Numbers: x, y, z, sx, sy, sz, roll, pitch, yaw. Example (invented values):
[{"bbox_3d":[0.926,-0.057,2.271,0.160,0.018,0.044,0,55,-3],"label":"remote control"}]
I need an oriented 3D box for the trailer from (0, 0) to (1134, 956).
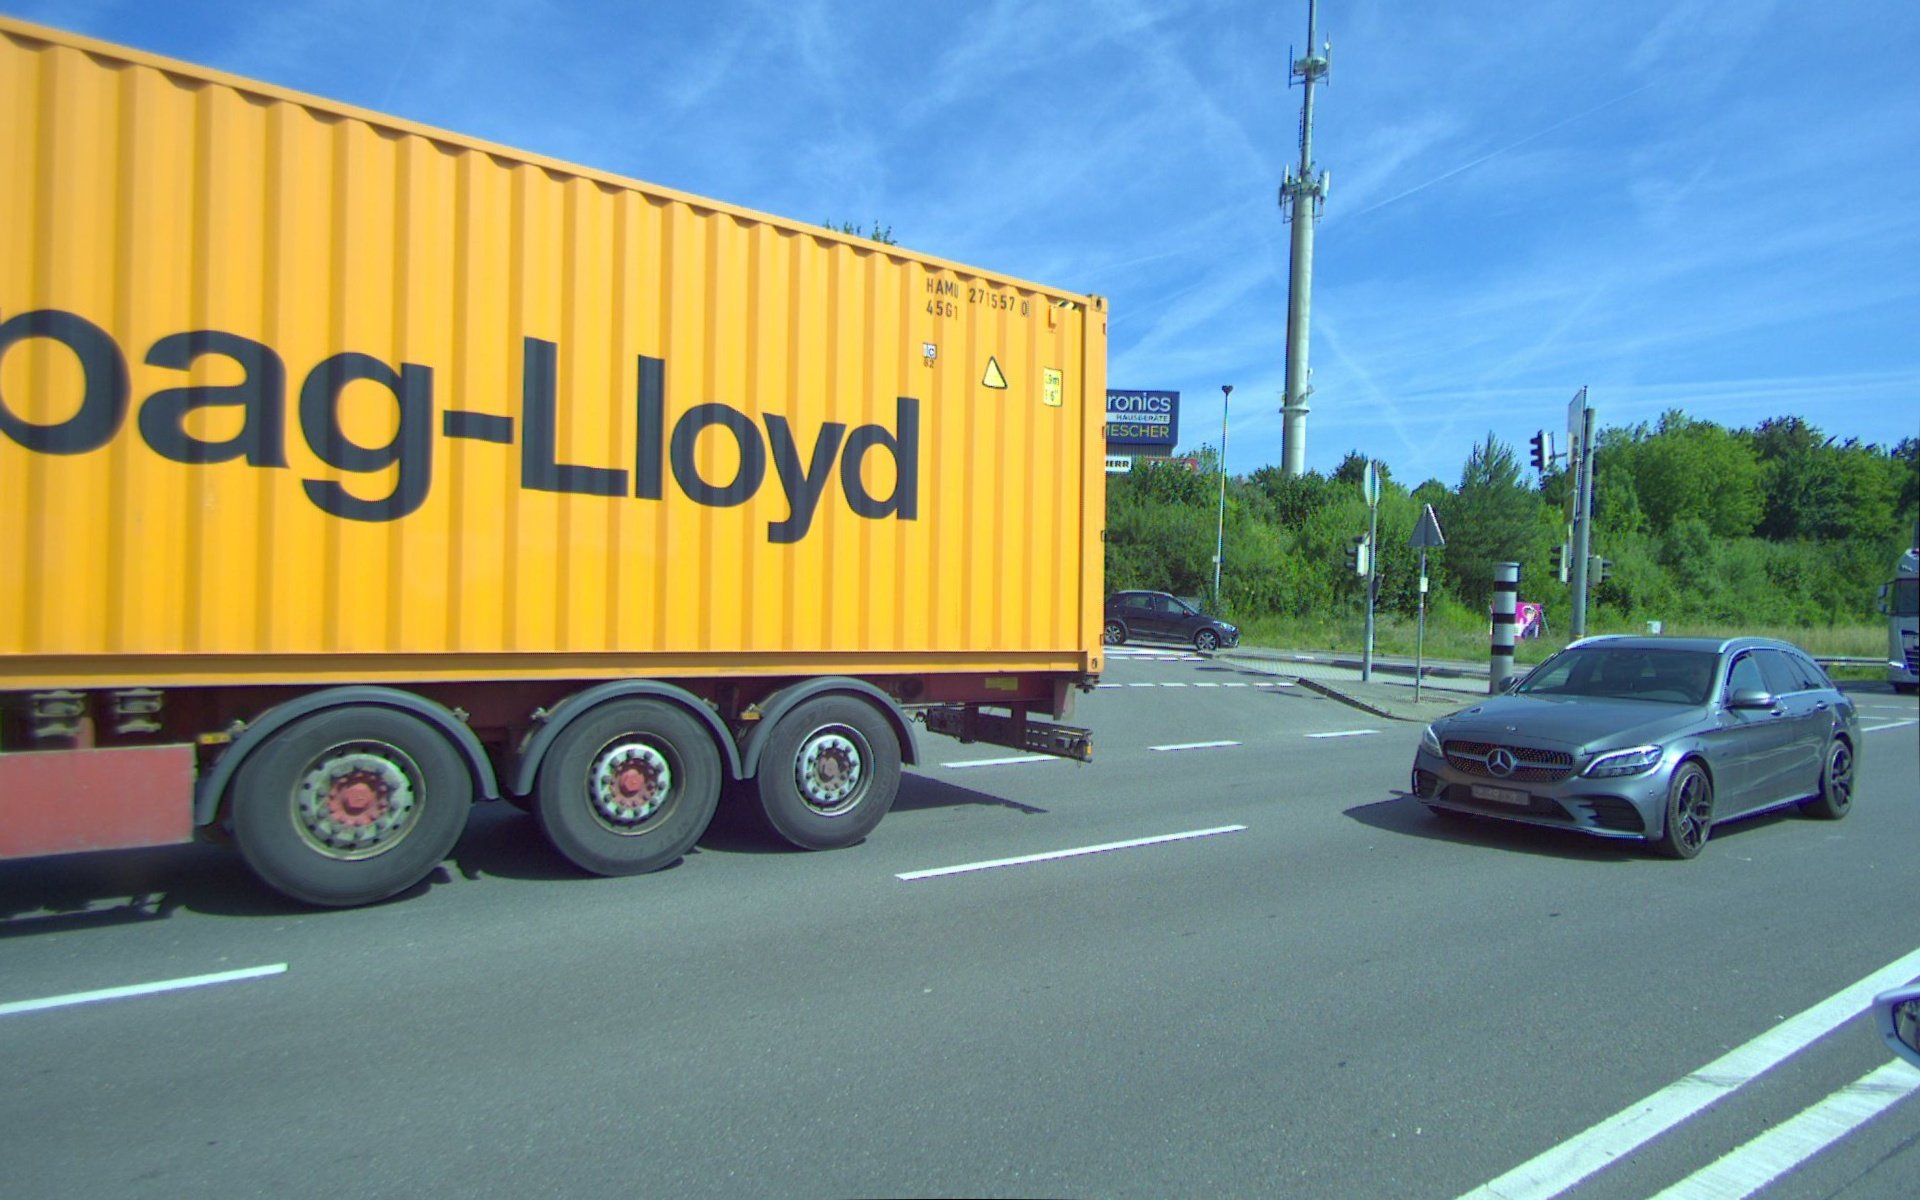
[{"bbox_3d":[-4.397,-0.534,5.563,12.111,4.051,2.703,2,0,-35],"label":"trailer"}]

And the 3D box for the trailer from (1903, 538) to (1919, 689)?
[{"bbox_3d":[32.864,0.566,30.641,13.729,4.203,2.676,2,0,-33],"label":"trailer"}]

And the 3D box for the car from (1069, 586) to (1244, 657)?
[{"bbox_3d":[5.493,0.550,28.008,4.543,1.548,1.916,4,2,15],"label":"car"}]

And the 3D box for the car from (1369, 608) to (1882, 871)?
[{"bbox_3d":[5.598,0.914,8.281,4.539,1.623,1.910,1,-1,-33],"label":"car"}]

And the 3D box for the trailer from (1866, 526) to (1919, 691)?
[{"bbox_3d":[26.984,0.301,26.794,6.113,4.159,2.630,2,0,-33],"label":"trailer"}]

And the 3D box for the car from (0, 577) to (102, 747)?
[{"bbox_3d":[-9.695,0.547,7.591,1.934,1.455,4.643,2,1,13],"label":"car"}]
